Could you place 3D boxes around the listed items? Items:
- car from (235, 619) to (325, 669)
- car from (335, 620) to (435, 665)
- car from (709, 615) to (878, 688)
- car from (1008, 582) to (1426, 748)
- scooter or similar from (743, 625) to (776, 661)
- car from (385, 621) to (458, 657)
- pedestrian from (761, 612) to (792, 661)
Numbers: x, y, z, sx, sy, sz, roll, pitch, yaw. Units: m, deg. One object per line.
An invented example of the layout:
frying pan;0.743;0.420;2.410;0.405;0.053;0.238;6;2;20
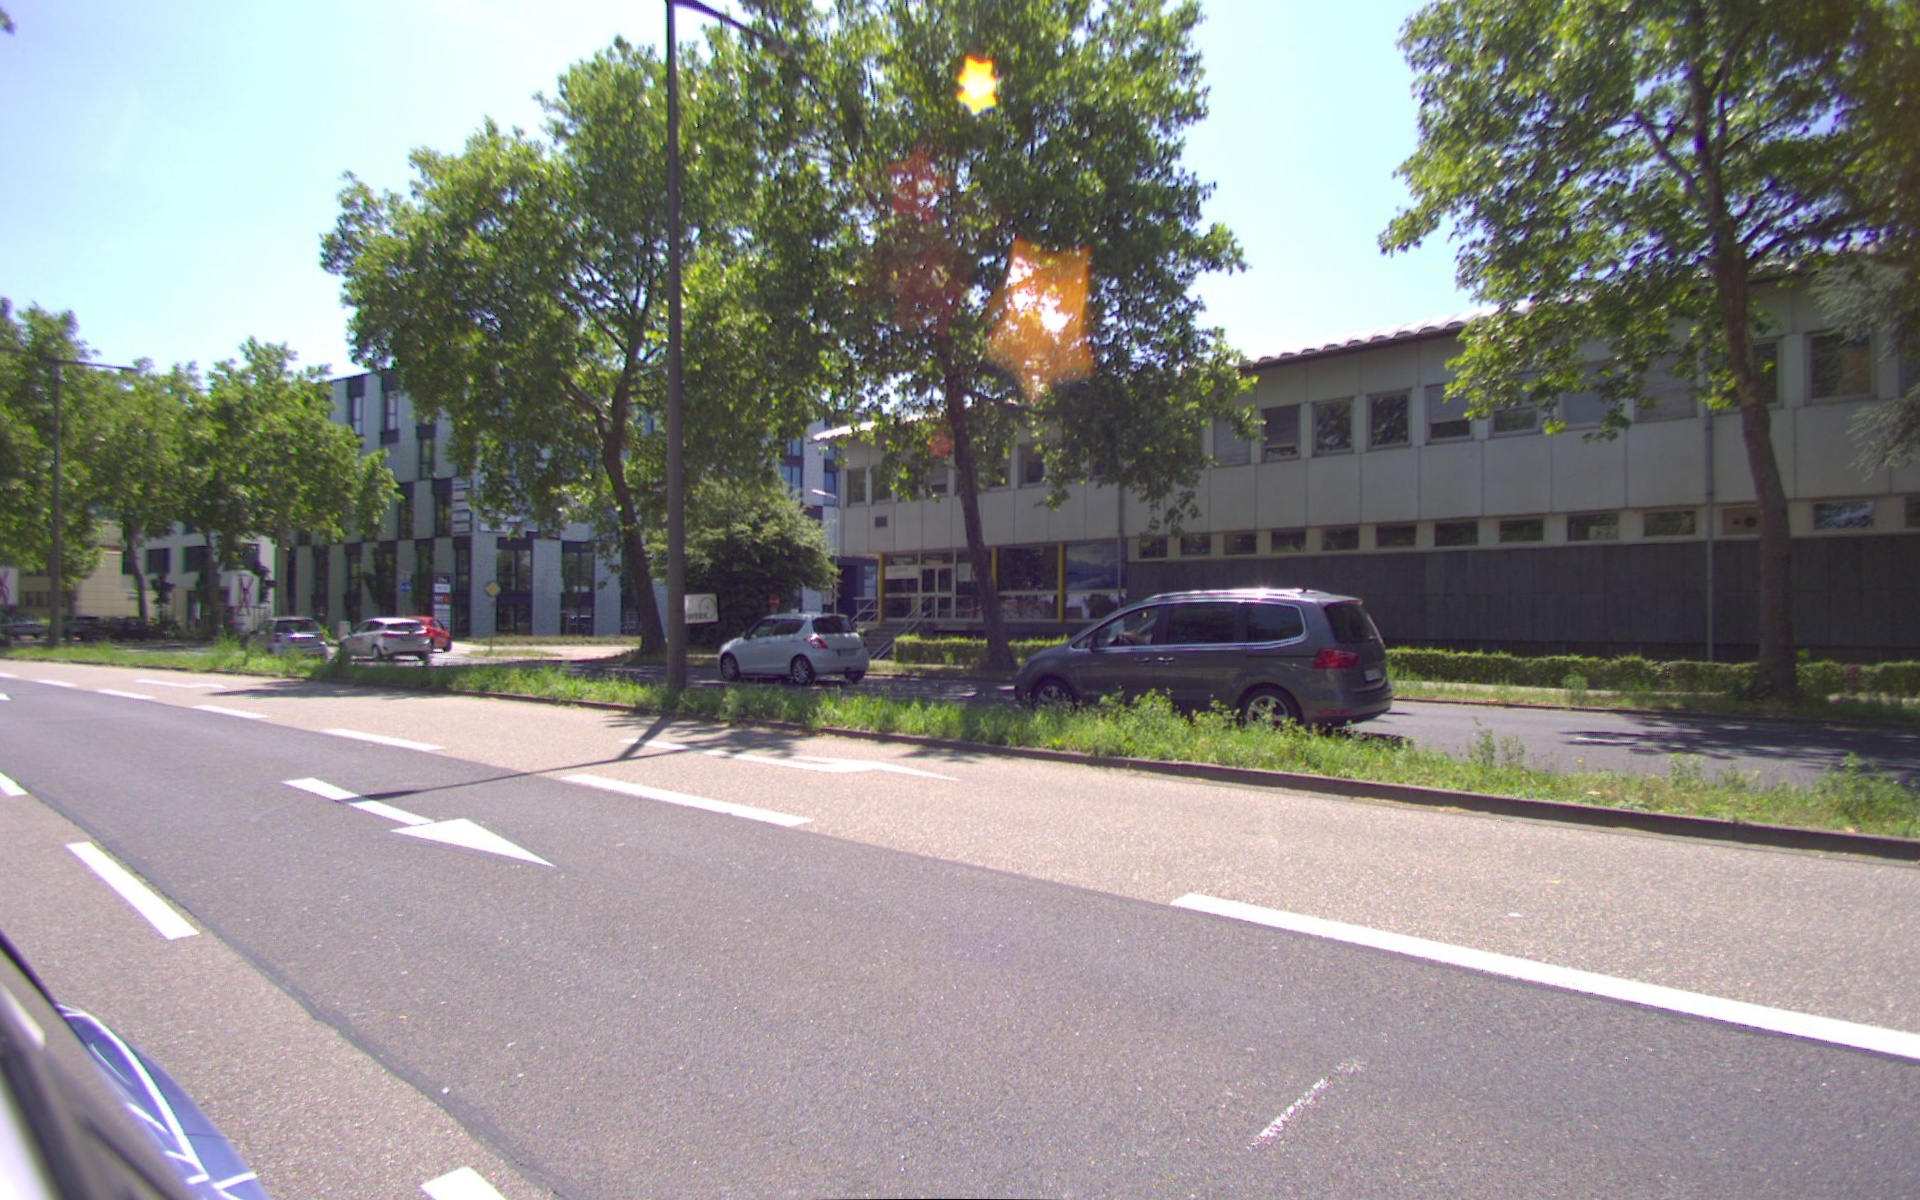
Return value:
car;-21.834;1.379;32.487;2.848;1.540;1.519;-1;-2;36
car;-19.825;1.439;34.848;3.667;1.454;1.735;-1;-2;38
car;-3.683;1.083;22.169;3.671;1.470;1.714;-1;-2;41
car;2.996;0.710;12.436;4.618;1.668;1.929;-1;-2;41
scooter or similar;-6.661;1.407;33.584;0.858;1.172;0.671;-1;-2;39
car;-22.658;1.630;42.710;1.650;1.472;3.537;0;-2;-9
pedestrian;-6.006;1.195;33.085;0.790;1.572;0.635;-1;-2;39
